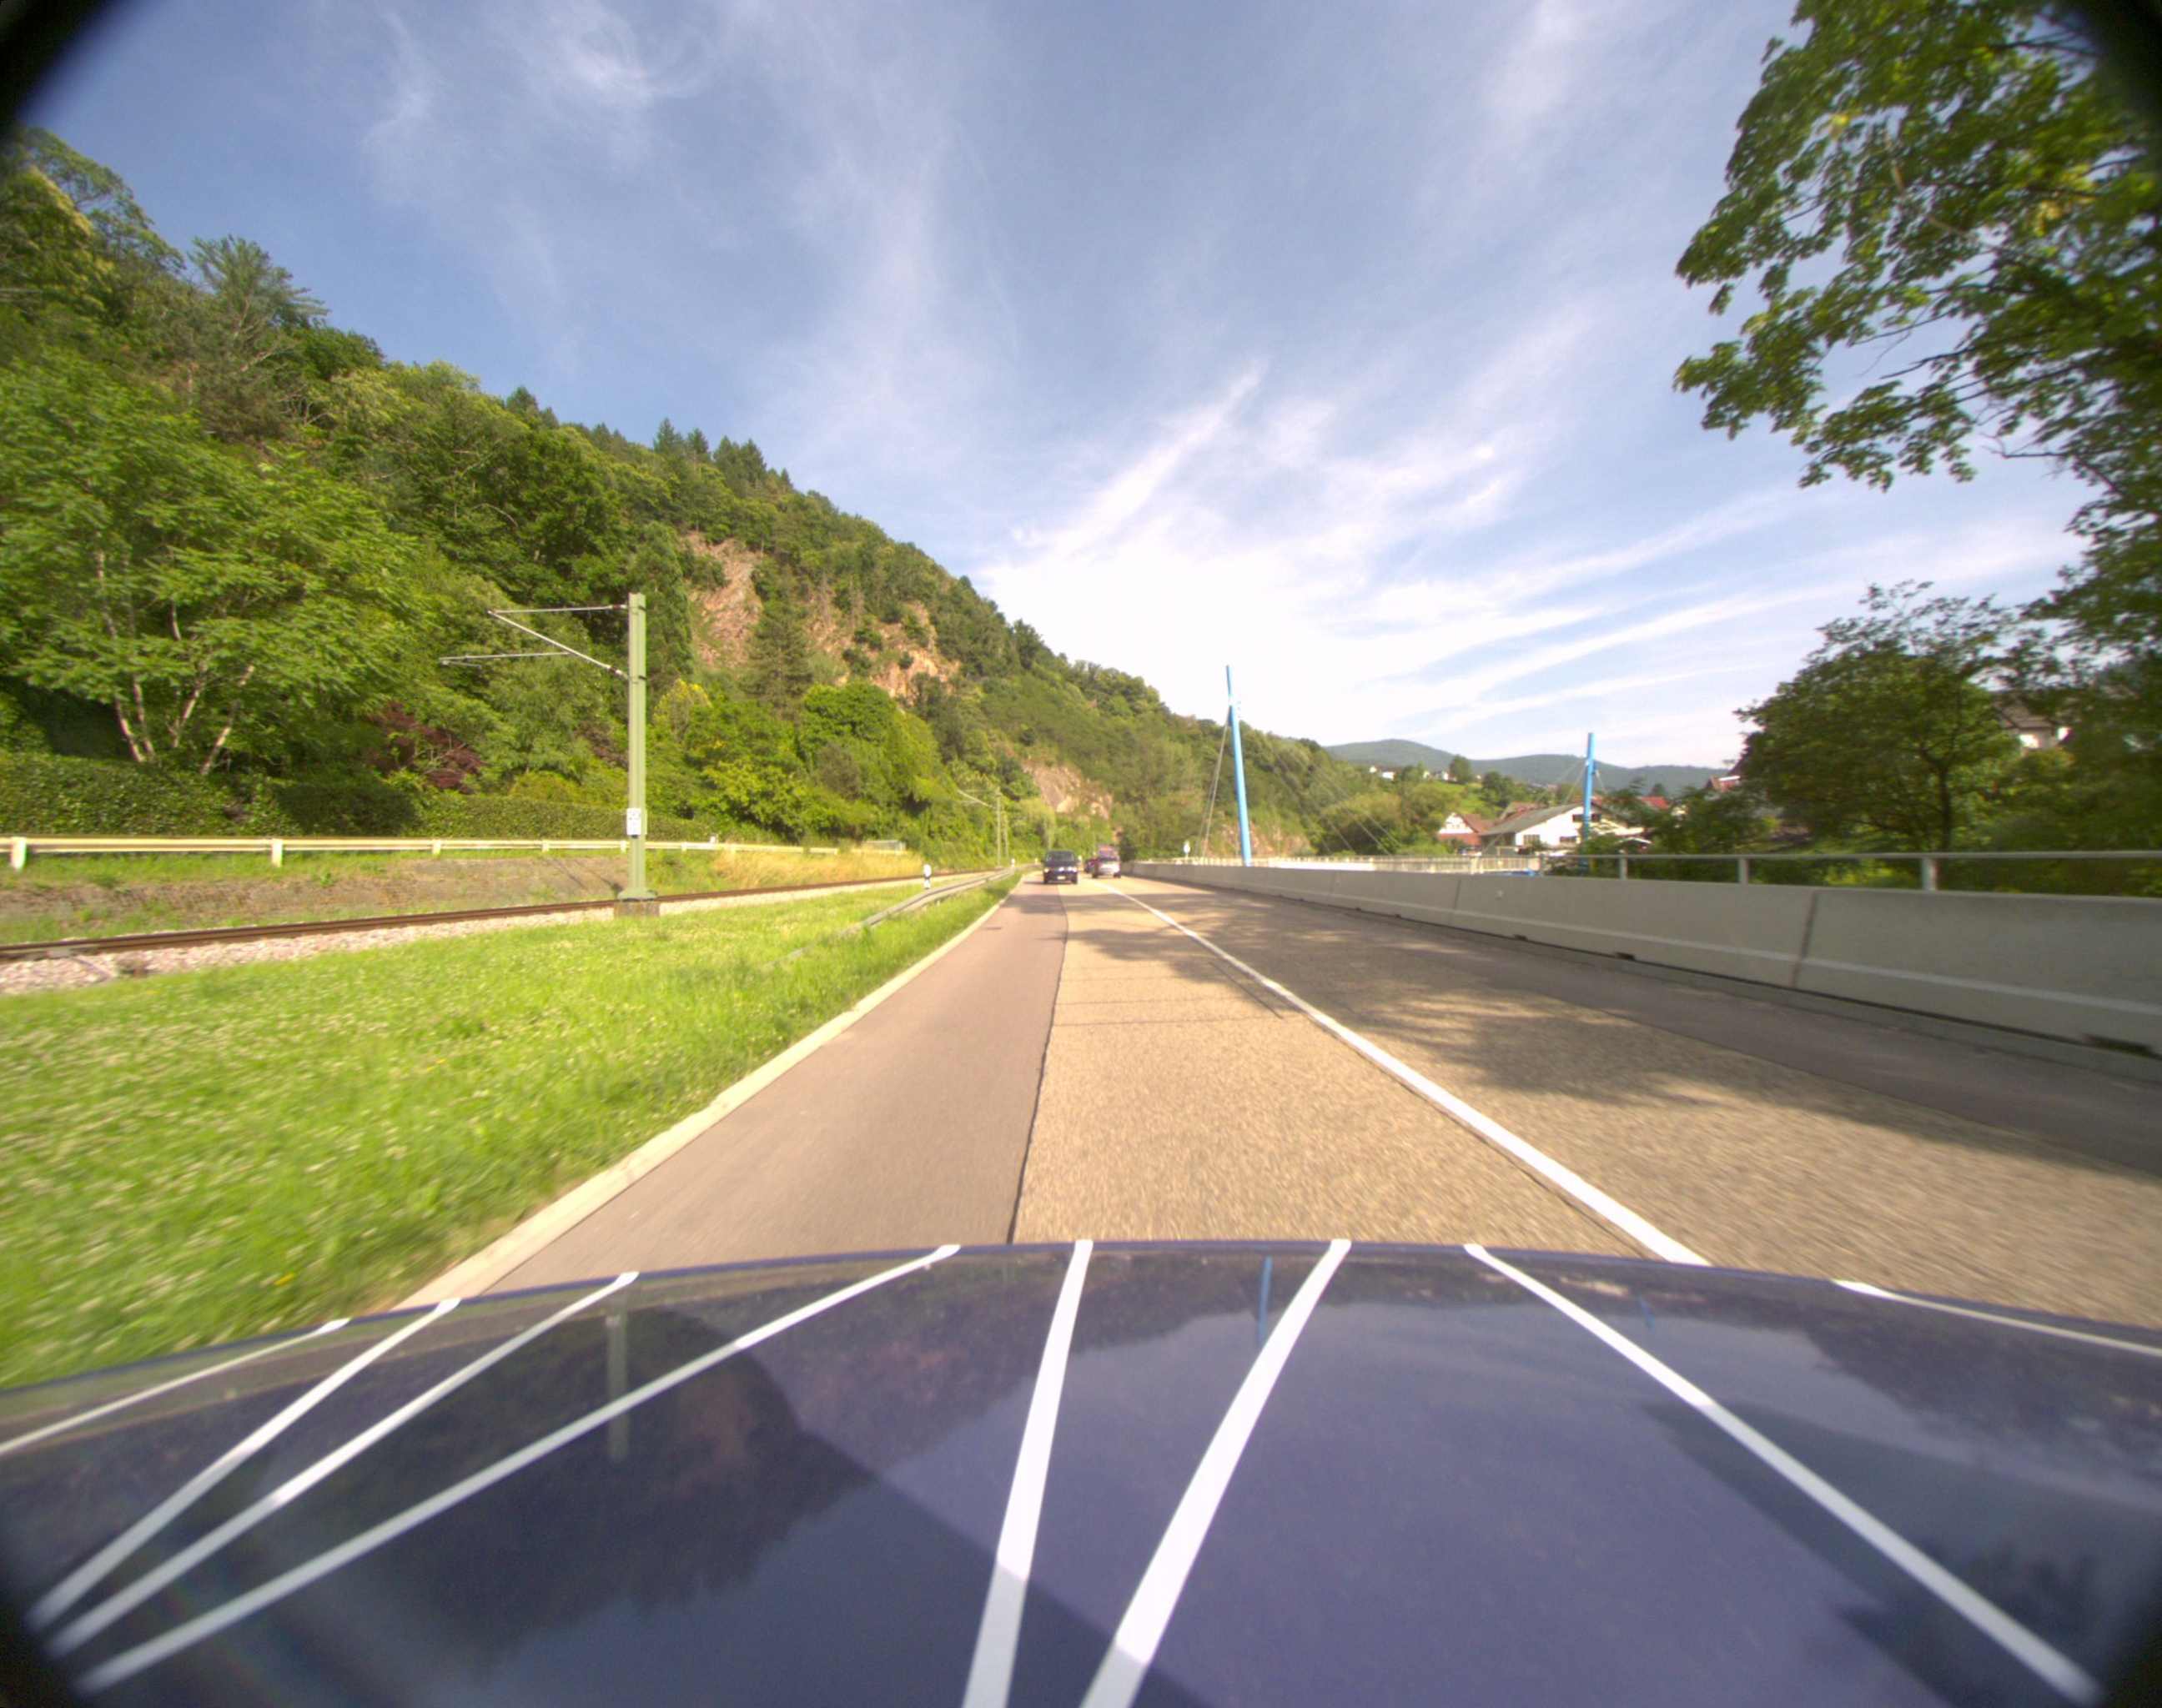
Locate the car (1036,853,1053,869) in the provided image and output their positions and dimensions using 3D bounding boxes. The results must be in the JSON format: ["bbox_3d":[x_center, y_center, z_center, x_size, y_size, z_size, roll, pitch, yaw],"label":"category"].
[{"bbox_3d":[-4.626,0.834,97.568,1.999,2.002,3.999,1,0,-1],"label":"car"}]

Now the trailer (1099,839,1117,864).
[{"bbox_3d":[4.576,-0.437,128.816,2.863,3.989,13.672,1,0,2],"label":"trailer"}]

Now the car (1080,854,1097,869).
[{"bbox_3d":[0.850,0.846,89.275,1.778,1.660,4.646,0,0,-3],"label":"car"}]

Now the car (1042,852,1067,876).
[{"bbox_3d":[-2.341,0.848,66.450,1.999,2.002,3.998,1,0,-4],"label":"car"}]

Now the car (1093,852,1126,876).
[{"bbox_3d":[2.027,0.701,54.915,1.999,1.619,4.506,-2,0,-2],"label":"car"}]

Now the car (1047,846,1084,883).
[{"bbox_3d":[-0.846,0.644,43.380,1.999,2.001,4.001,0,-2,0],"label":"car"}]

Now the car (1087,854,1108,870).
[{"bbox_3d":[1.600,0.766,75.474,1.804,1.547,4.330,-2,0,-3],"label":"car"}]
